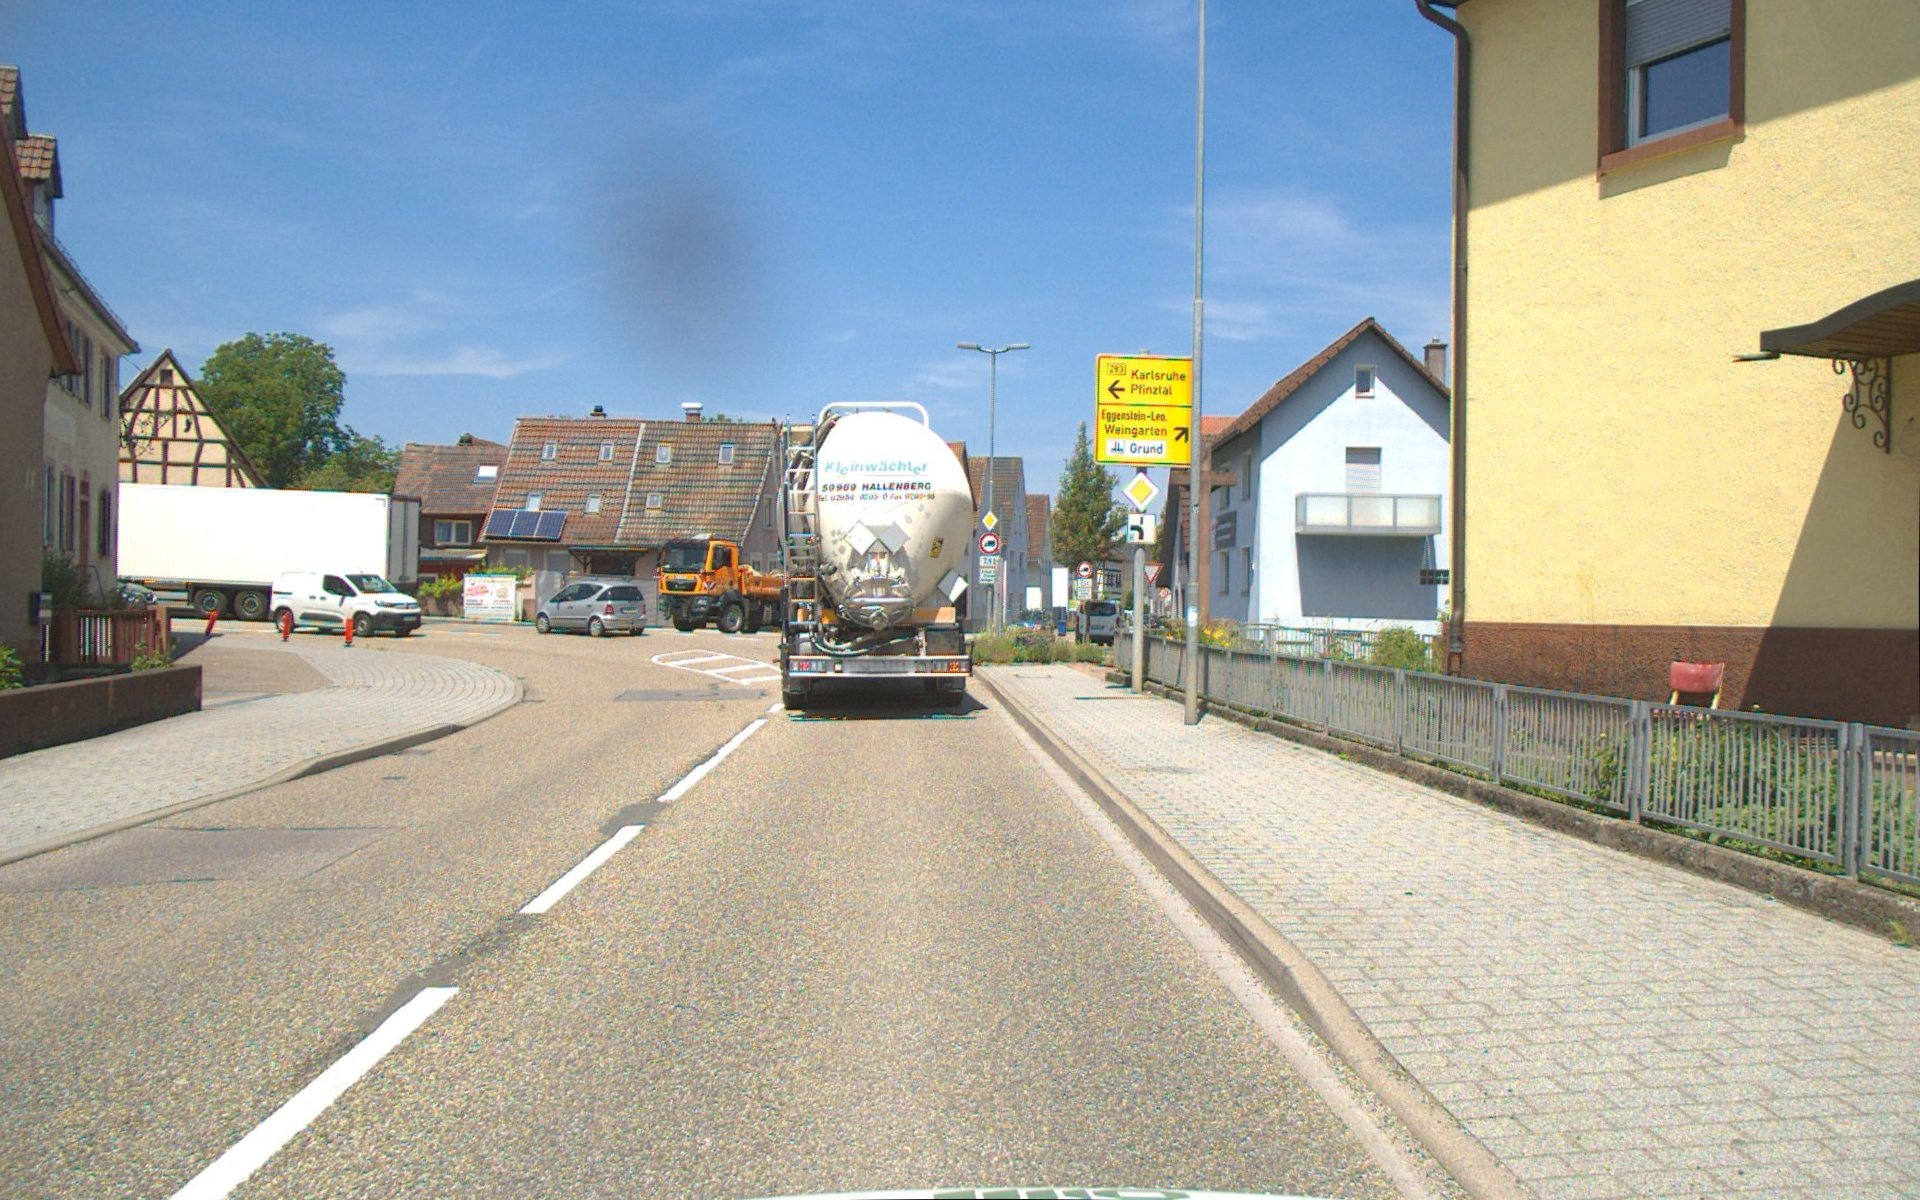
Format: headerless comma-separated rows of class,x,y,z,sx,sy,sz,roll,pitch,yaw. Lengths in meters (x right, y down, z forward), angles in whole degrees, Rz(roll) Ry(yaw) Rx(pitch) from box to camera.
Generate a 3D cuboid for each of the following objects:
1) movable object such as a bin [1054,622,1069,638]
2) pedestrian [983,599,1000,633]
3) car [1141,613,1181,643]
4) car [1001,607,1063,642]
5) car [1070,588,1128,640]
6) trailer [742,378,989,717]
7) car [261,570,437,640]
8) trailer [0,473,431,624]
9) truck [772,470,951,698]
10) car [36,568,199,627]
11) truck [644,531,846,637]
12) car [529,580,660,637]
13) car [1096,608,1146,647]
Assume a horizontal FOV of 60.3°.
movable object such as a bin,7.030,2.063,114.781,0.900,1.067,0.944,2,0,13
pedestrian,1.947,1.005,103.575,0.753,2.049,0.977,2,-1,18
car,11.366,1.540,93.226,1.951,1.613,4.003,1,0,11
car,3.854,1.335,88.157,1.953,1.704,4.312,2,-1,21
car,5.777,0.610,68.168,1.951,1.946,4.327,2,-2,10
trailer,-1.463,-0.589,25.685,2.894,4.017,11.610,1,0,-3
car,-17.154,0.119,46.459,4.413,1.816,1.880,2,1,19
trailer,-23.375,-1.567,52.310,12.194,4.352,3.143,1,-1,3
truck,-2.106,-0.249,33.113,2.932,4.034,5.567,3,-1,-9
car,-24.819,-0.065,48.767,3.902,1.550,1.799,2,0,8
truck,-7.250,-0.446,56.848,2.614,3.237,7.440,0,-2,33
car,-10.650,0.242,48.170,3.531,1.613,1.782,0,-1,34
car,7.332,1.233,75.201,1.778,1.663,4.211,1,0,12
